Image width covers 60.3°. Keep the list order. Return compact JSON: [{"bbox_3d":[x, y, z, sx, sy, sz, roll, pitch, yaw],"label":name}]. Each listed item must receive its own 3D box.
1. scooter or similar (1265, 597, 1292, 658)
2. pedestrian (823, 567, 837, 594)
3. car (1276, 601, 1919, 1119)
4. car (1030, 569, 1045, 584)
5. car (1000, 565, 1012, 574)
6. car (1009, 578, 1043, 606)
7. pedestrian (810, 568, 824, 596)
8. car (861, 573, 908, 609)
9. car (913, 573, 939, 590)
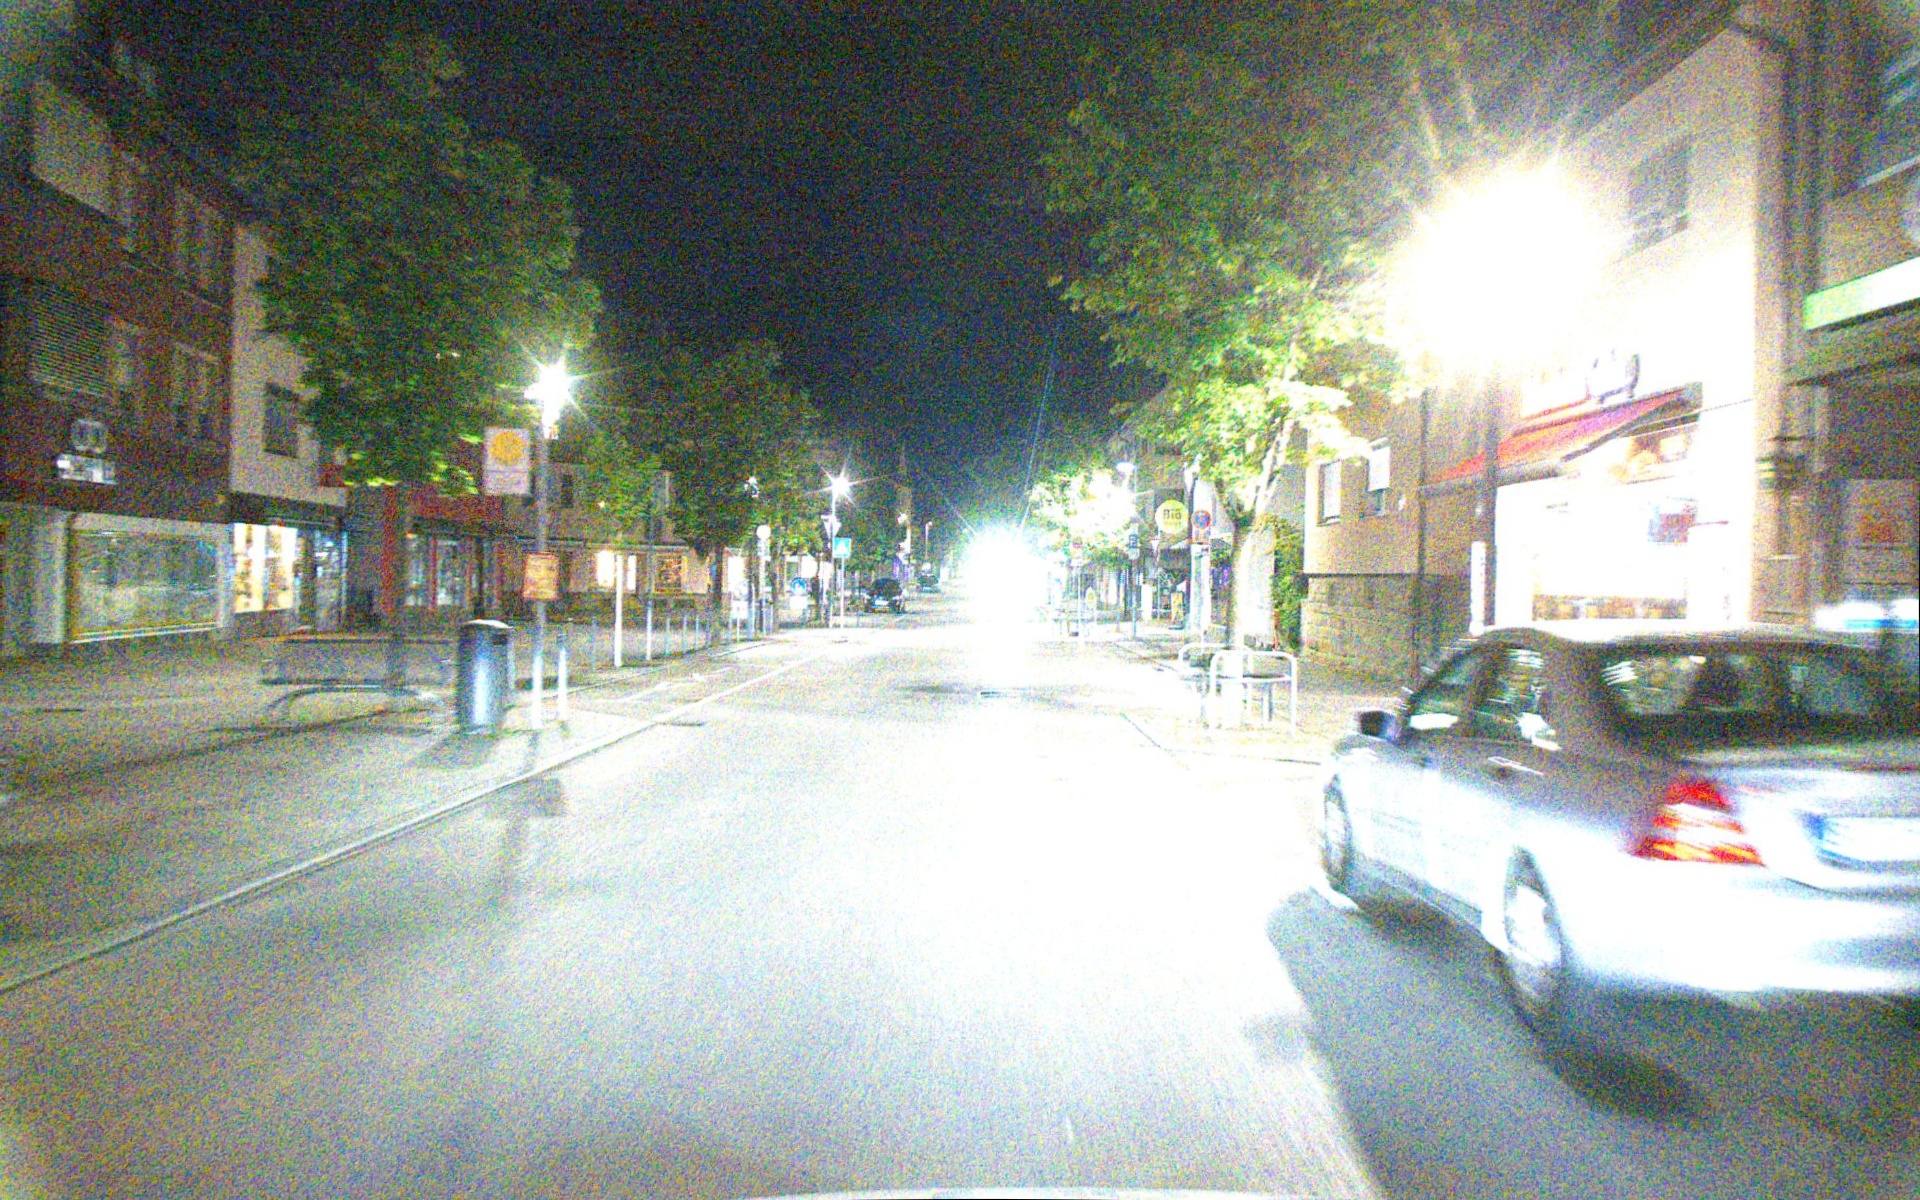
[{"bbox_3d":[6.940,0.590,36.051,0.365,1.299,1.306,1,-1,2],"label":"scooter or similar"},{"bbox_3d":[-8.137,-1.213,103.327,0.753,1.684,0.782,1,2,2],"label":"pedestrian"},{"bbox_3d":[2.778,0.758,7.064,1.700,1.466,4.493,1,0,-4],"label":"car"},{"bbox_3d":[9.016,-2.775,191.746,1.738,1.681,4.366,1,1,3],"label":"car"},{"bbox_3d":[6.862,-4.533,246.882,1.687,1.268,4.239,1,1,3],"label":"car"},{"bbox_3d":[3.591,-0.453,90.061,1.640,1.485,3.675,1,1,-1],"label":"car"},{"bbox_3d":[-8.916,-1.116,103.388,0.753,1.684,0.817,1,2,2],"label":"pedestrian"},{"bbox_3d":[-3.829,-0.490,84.457,1.976,1.720,5.004,2,1,2],"label":"car"},{"bbox_3d":[-2.811,-1.554,138.550,1.874,1.394,4.460,1,2,3],"label":"car"}]
